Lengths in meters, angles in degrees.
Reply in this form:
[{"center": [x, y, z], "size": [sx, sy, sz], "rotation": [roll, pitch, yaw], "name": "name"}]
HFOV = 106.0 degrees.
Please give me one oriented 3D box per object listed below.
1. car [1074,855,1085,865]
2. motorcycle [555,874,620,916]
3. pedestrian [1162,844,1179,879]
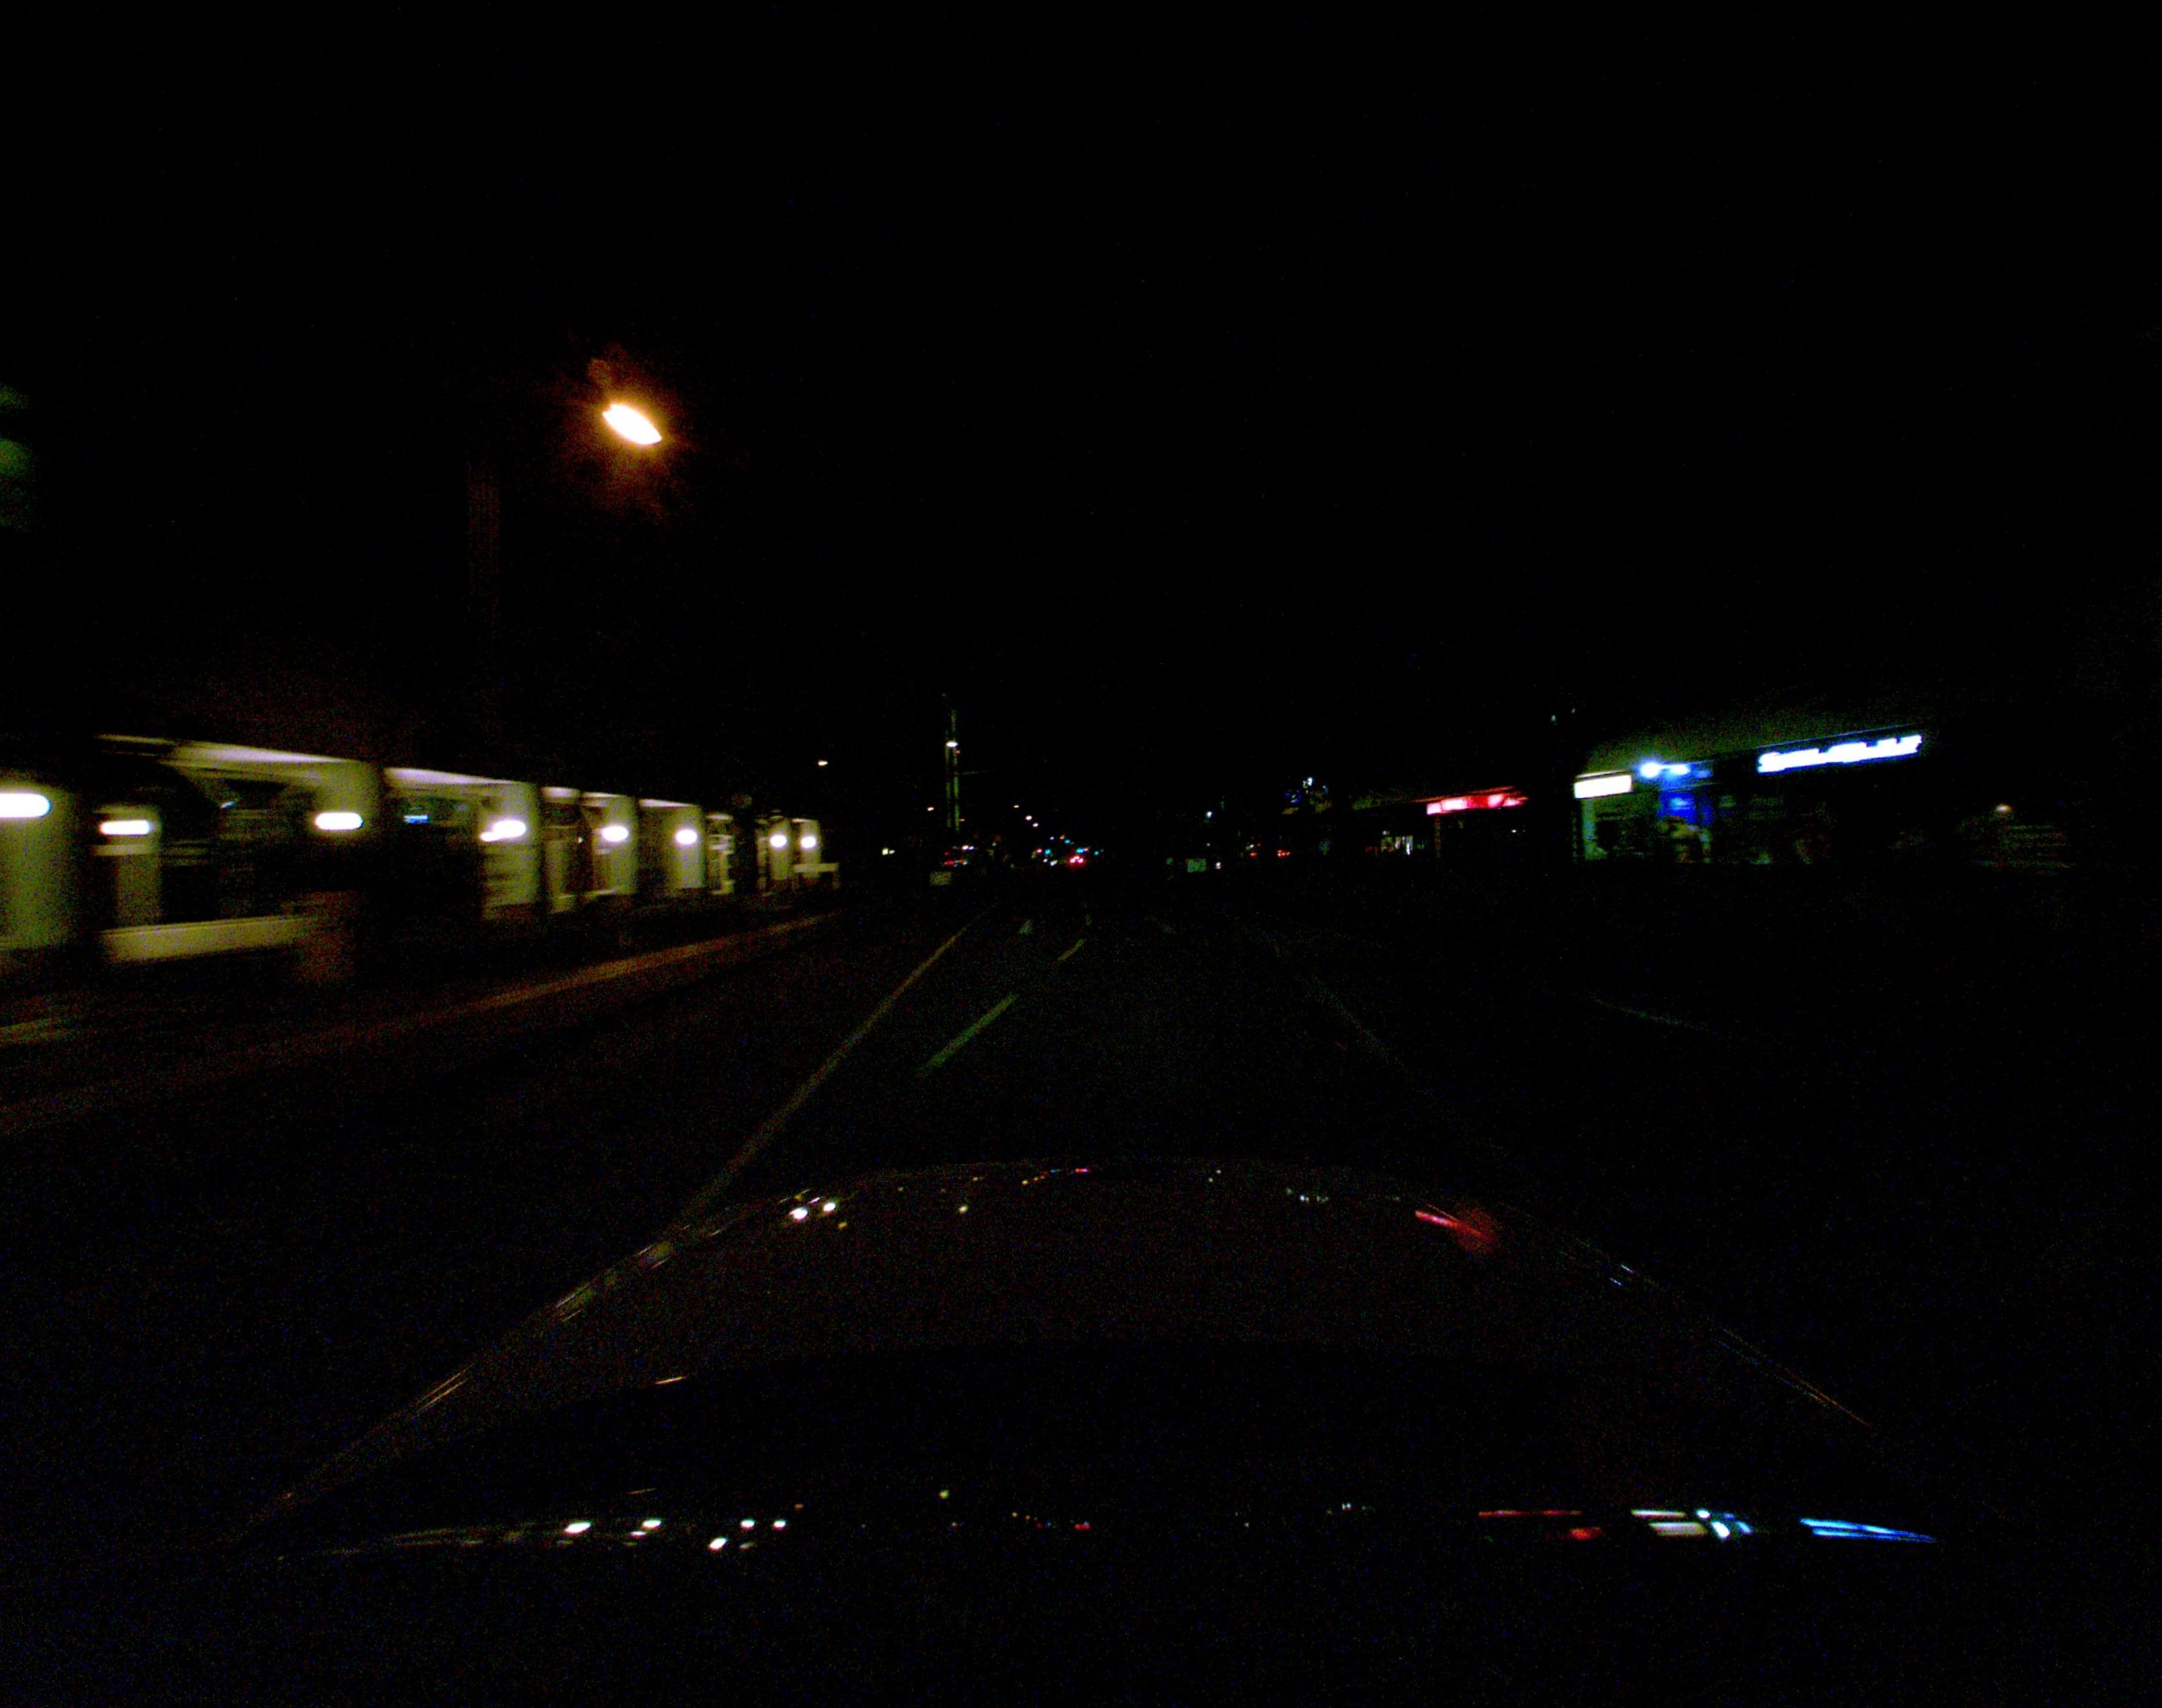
[{"center": [-0.300, 1.042, 147.117], "size": [1.988, 1.643, 3.998], "rotation": [-3, 0, -1], "name": "car"}, {"center": [-13.096, 1.061, 21.653], "size": [0.475, 1.020, 1.680], "rotation": [-2, 0, 10], "name": "motorcycle"}, {"center": [4.799, 0.402, 43.823], "size": [0.700, 1.818, 1.081], "rotation": [-3, 0, -1], "name": "pedestrian"}]
